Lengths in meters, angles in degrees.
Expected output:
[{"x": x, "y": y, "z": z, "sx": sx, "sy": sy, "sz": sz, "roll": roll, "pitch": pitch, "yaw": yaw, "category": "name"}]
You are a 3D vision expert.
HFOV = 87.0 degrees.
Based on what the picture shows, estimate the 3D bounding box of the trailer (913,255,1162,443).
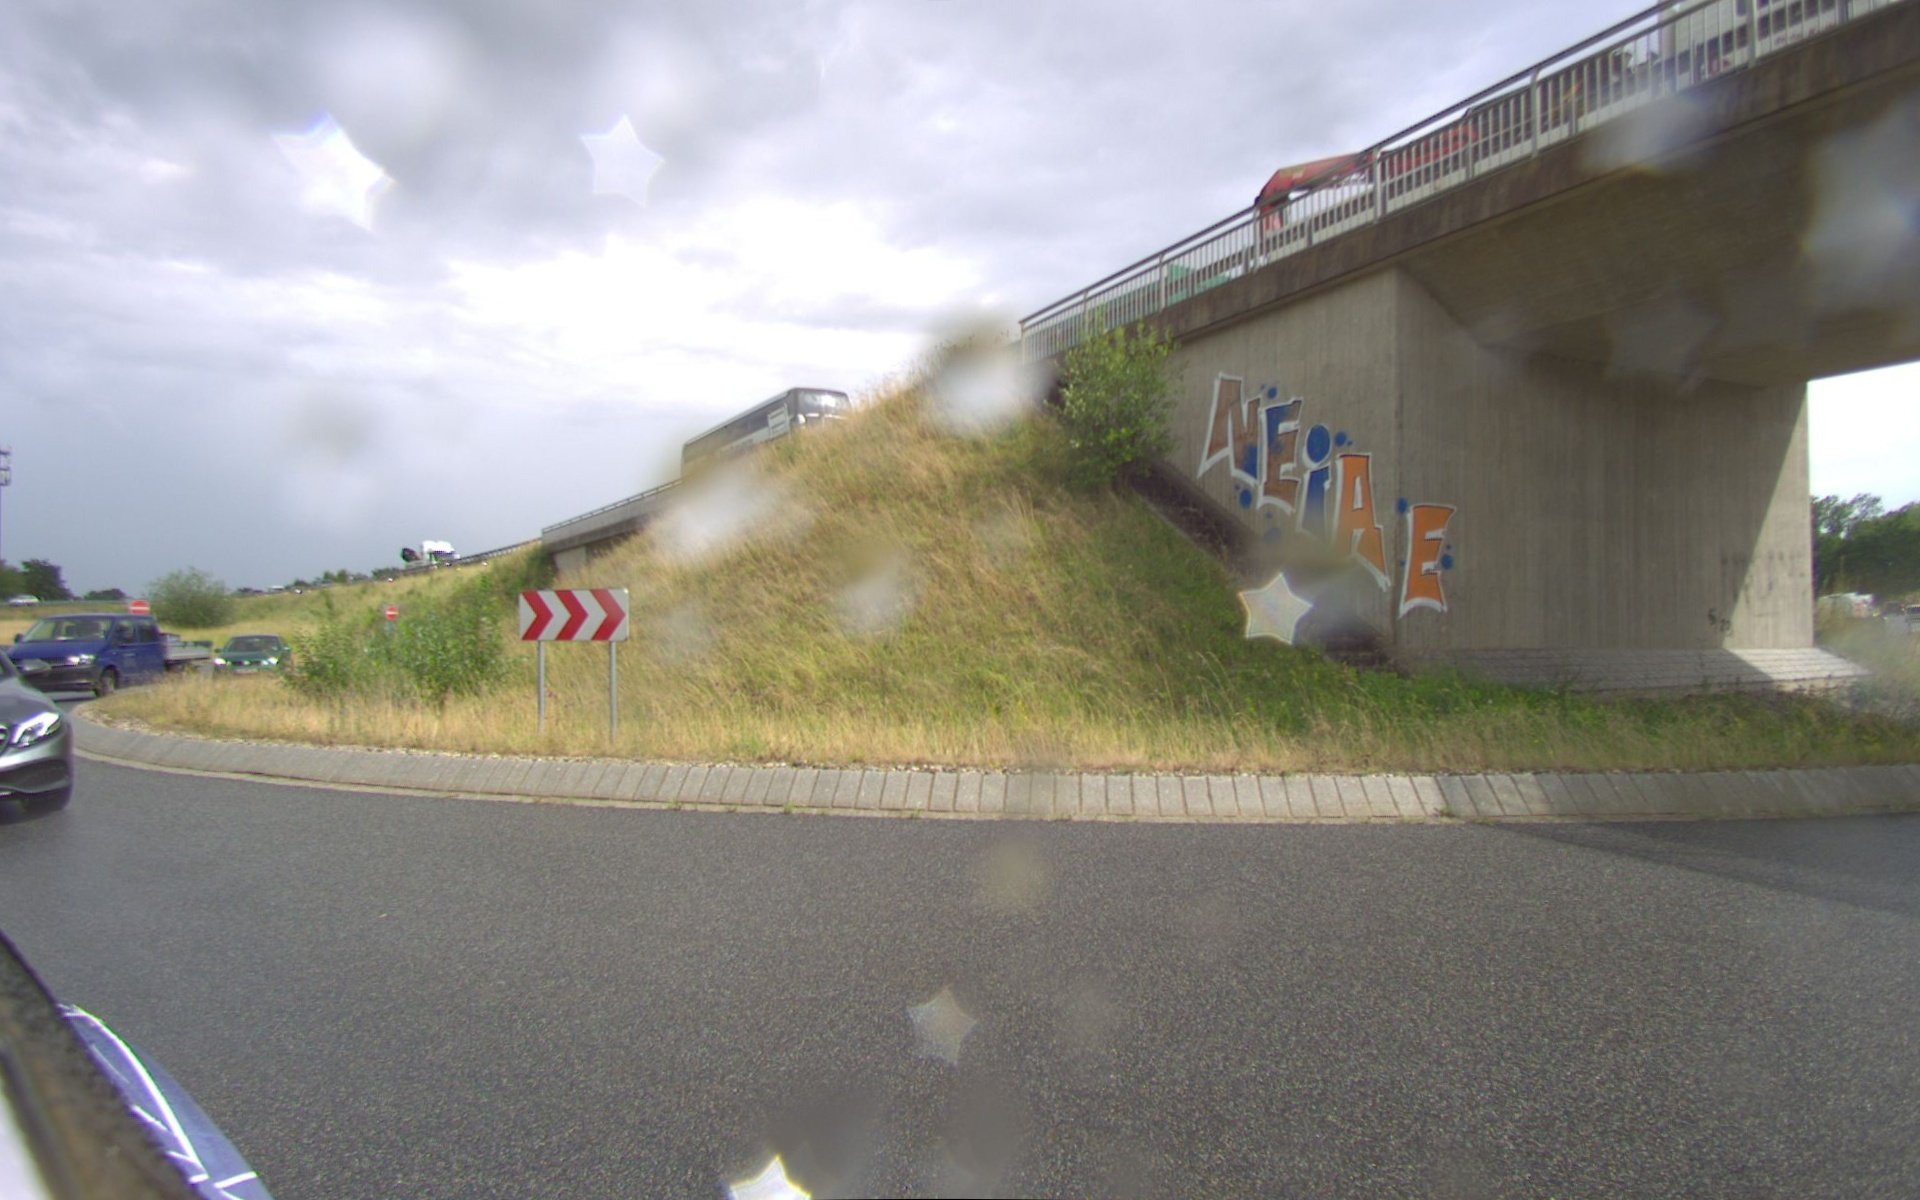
[{"x": 1.722, "y": -6.399, "z": 27.308, "sx": 2.150, "sy": 2.893, "sz": 8.355, "roll": -1, "pitch": -1, "yaw": -31, "category": "trailer"}]

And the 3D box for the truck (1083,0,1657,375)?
[{"x": 6.615, "y": -6.952, "z": 19.186, "sx": 2.170, "sy": 2.895, "sz": 10.856, "roll": -1, "pitch": -1, "yaw": -32, "category": "truck"}]

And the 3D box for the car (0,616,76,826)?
[{"x": -8.514, "y": 0.917, "z": 7.815, "sx": 4.585, "sy": 1.402, "sz": 1.749, "roll": -4, "pitch": -3, "yaw": 38, "category": "car"}]

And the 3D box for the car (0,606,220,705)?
[{"x": -19.793, "y": 1.158, "z": 23.623, "sx": 1.862, "sy": 1.929, "sz": 5.696, "roll": -2, "pitch": 1, "yaw": -12, "category": "car"}]

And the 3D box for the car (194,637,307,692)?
[{"x": -20.558, "y": 1.837, "z": 29.499, "sx": 1.744, "sy": 1.496, "sz": 3.845, "roll": 1, "pitch": -3, "yaw": -20, "category": "car"}]

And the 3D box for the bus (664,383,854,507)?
[{"x": -9.302, "y": -6.378, "z": 44.265, "sx": 2.570, "sy": 3.103, "sz": 14.500, "roll": -1, "pitch": -1, "yaw": -35, "category": "bus"}]

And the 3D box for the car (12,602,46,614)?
[{"x": -134.586, "y": 1.217, "z": 146.370, "sx": 1.740, "sy": 1.655, "sz": 3.900, "roll": -1, "pitch": -1, "yaw": -7, "category": "car"}]

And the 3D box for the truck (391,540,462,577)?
[{"x": -54.169, "y": -4.089, "z": 102.584, "sx": 9.273, "sy": 3.218, "sz": 3.119, "roll": -2, "pitch": -1, "yaw": 40, "category": "truck"}]

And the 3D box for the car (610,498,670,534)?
[{"x": -18.697, "y": -4.859, "z": 58.984, "sx": 1.688, "sy": 1.536, "sz": 4.503, "roll": -12, "pitch": 6, "yaw": -37, "category": "car"}]
